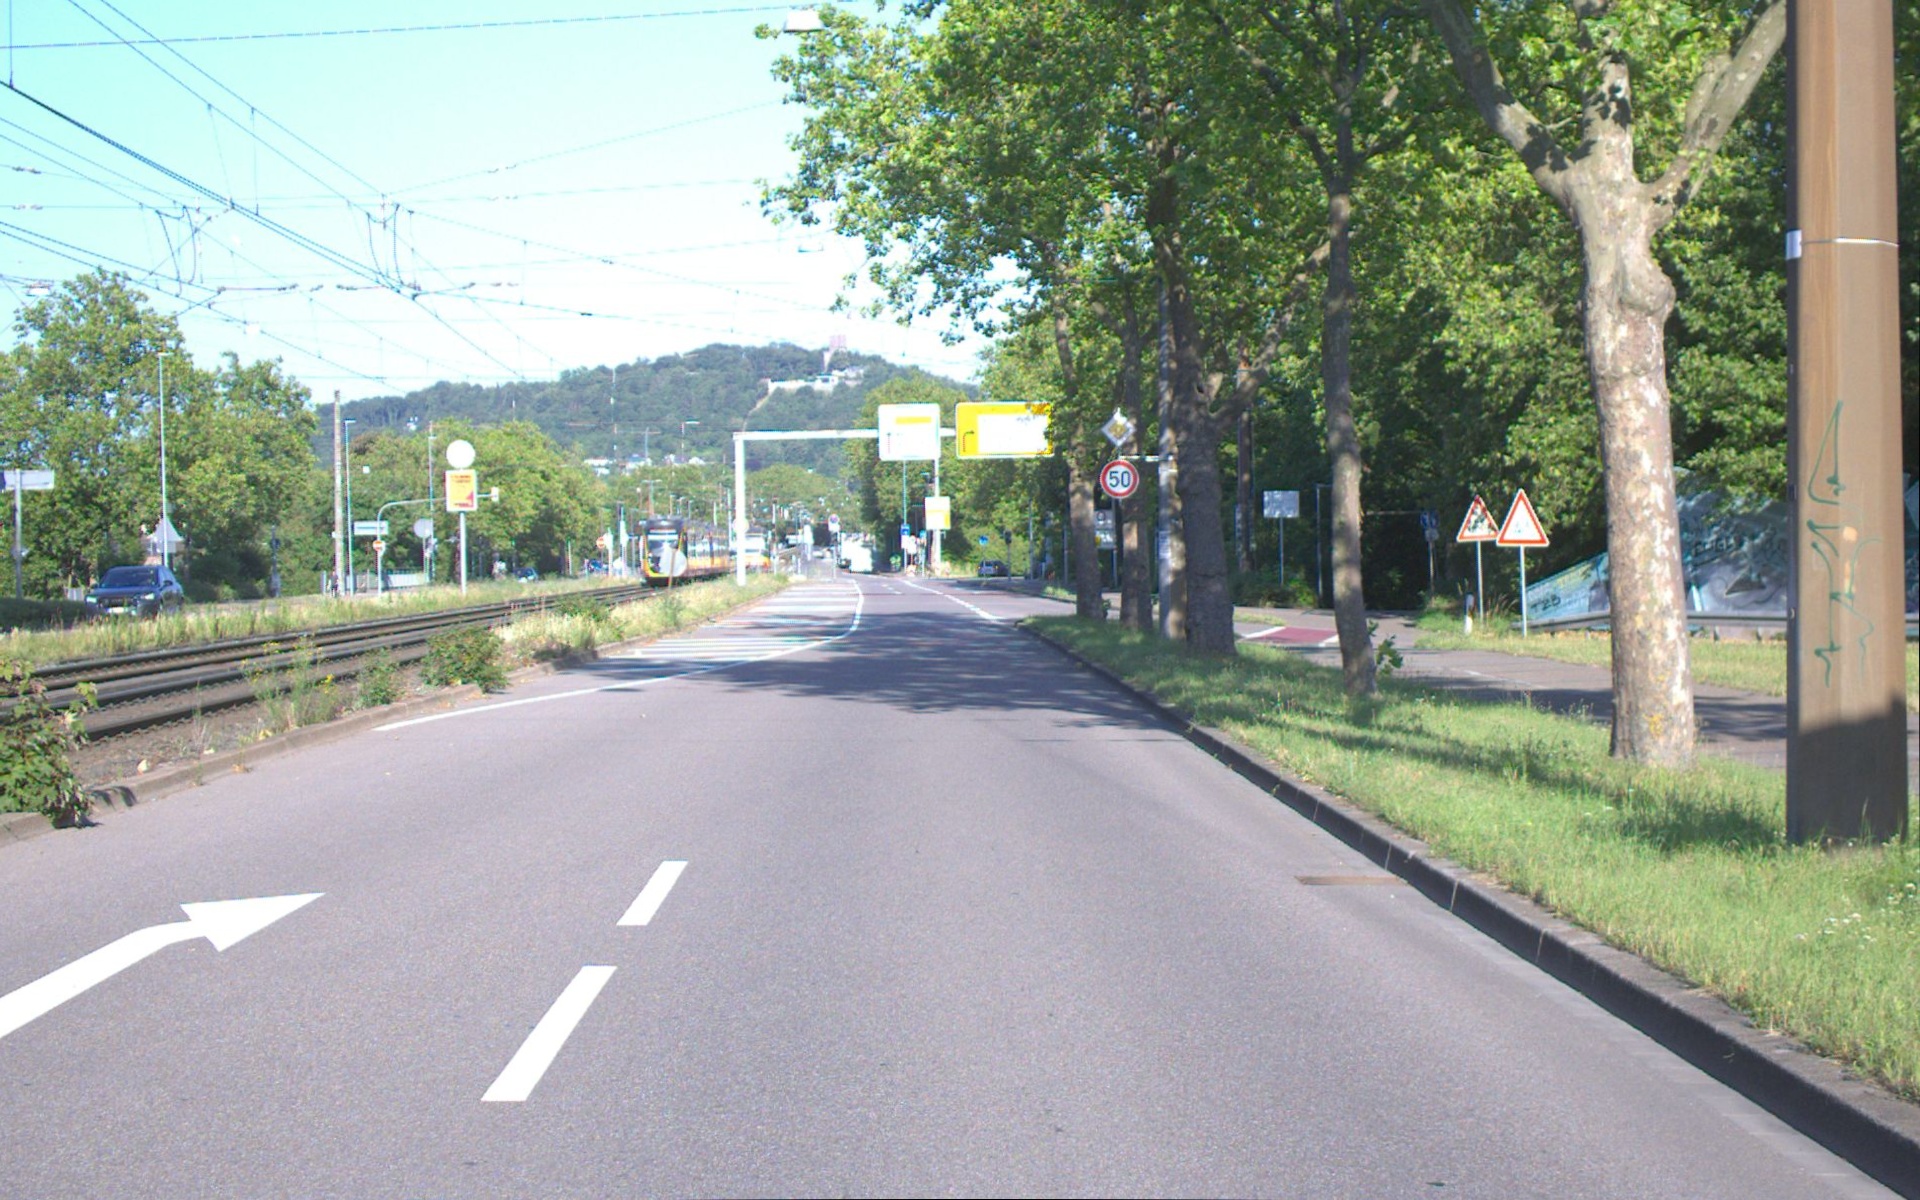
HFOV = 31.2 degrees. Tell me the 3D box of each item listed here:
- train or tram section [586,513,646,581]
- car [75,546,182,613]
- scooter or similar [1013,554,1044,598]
[{"bbox_3d":[-20.617,-3.146,206.530,2.804,3.889,12.333,0,0,-2],"label":"train or tram section"},{"bbox_3d":[-22.512,-0.559,93.228,1.898,1.688,4.942,-2,1,-3],"label":"car"},{"bbox_3d":[4.151,-1.479,210.051,1.681,2.706,4.869,0,1,-1],"label":"scooter or similar"}]
